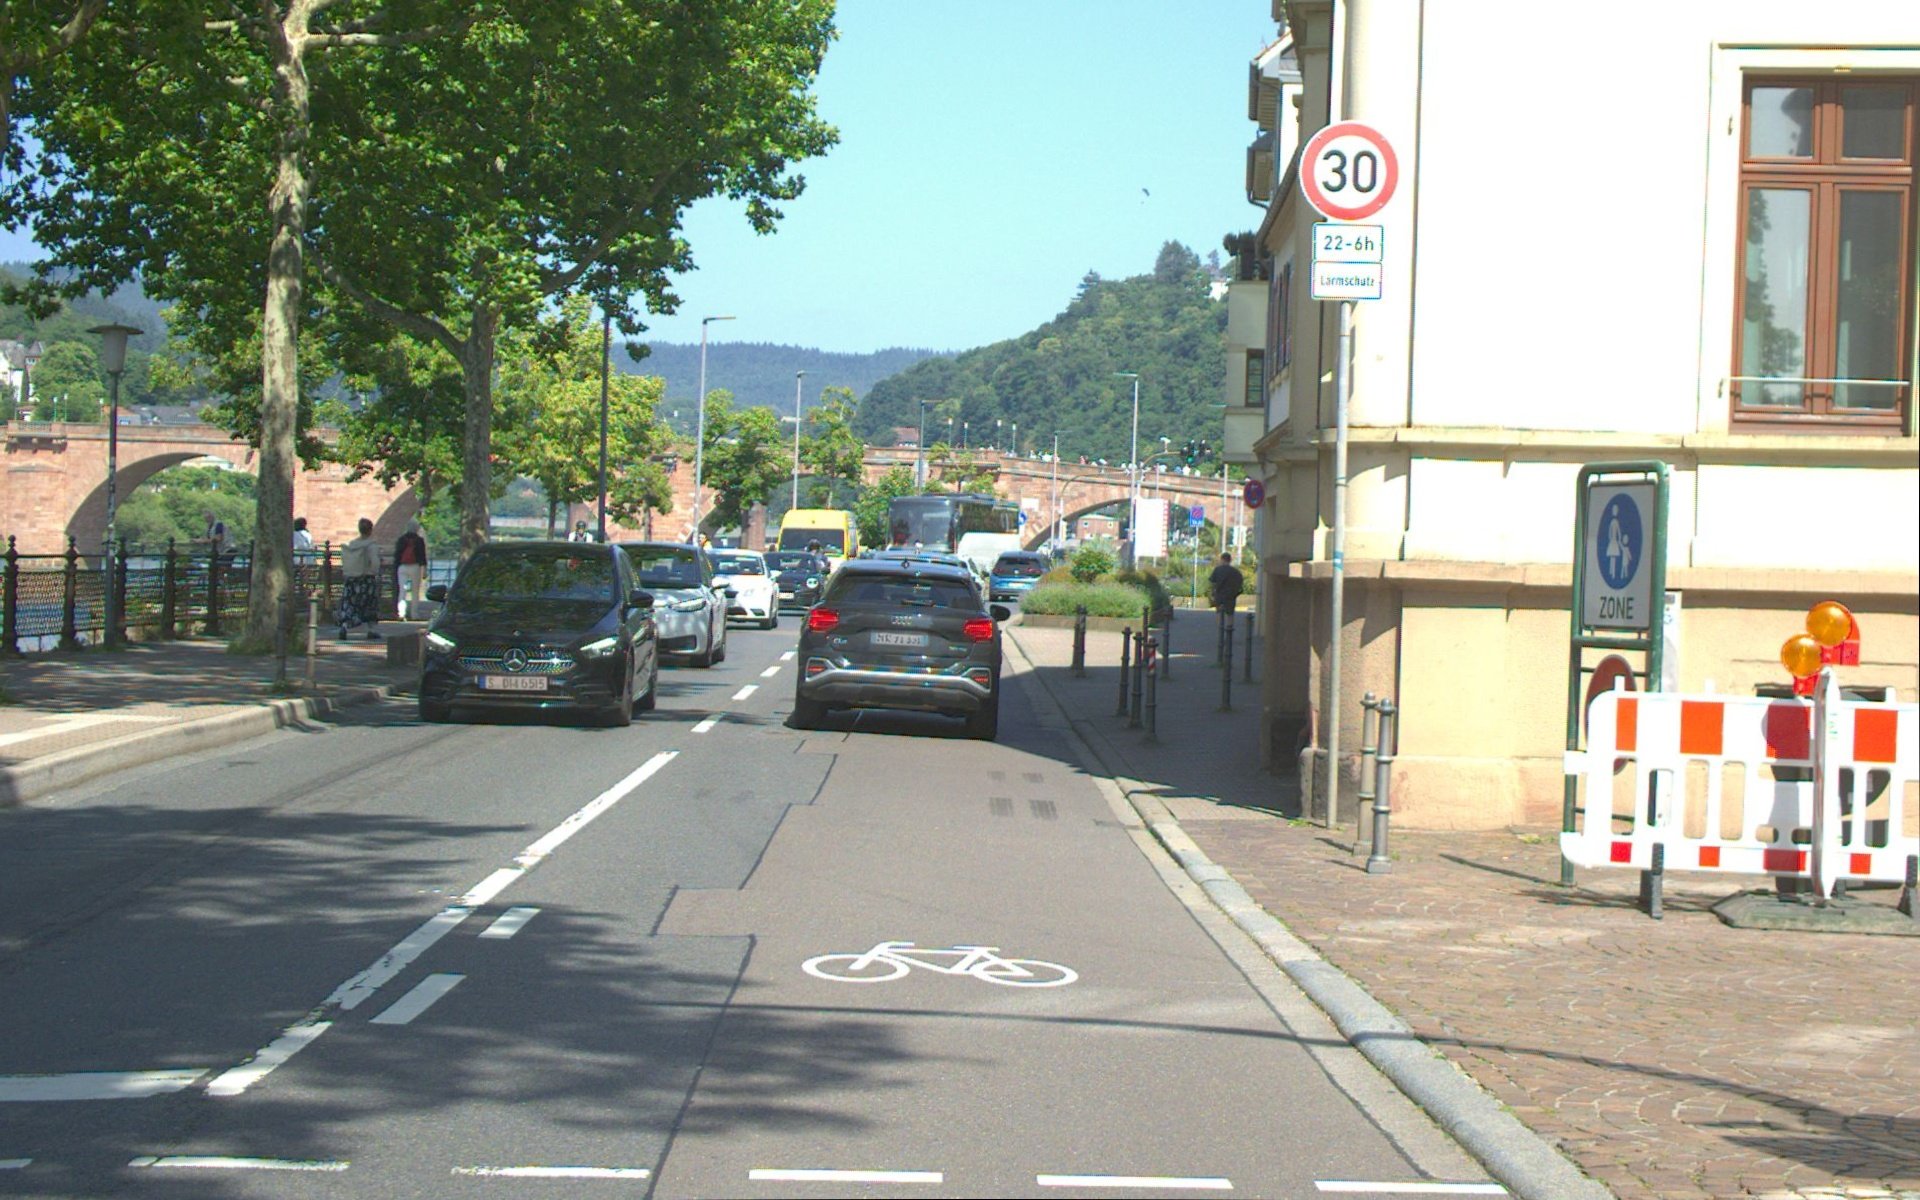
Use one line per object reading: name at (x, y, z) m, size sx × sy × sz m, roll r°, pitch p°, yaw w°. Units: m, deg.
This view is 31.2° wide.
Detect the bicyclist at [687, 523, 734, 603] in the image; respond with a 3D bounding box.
bicyclist at (-5.021, -0.751, 69.326) m, size 0.766 × 1.526 × 1.025 m, roll 3°, pitch 3°, yaw 1°

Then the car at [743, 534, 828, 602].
car at (-3.908, -0.731, 77.439) m, size 1.701 × 1.453 × 4.002 m, roll 2°, pitch 1°, yaw 0°

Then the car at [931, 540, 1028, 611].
car at (0.492, -0.593, 79.972) m, size 1.927 × 1.548 × 4.831 m, roll 1°, pitch 1°, yaw 4°

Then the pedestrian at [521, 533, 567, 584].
pedestrian at (-10.657, -1.069, 88.038) m, size 0.937 × 1.276 × 0.849 m, roll 2°, pitch 1°, yaw 8°

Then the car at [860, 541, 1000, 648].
car at (-0.402, -0.123, 51.675) m, size 1.926 × 1.456 × 4.832 m, roll 2°, pitch 1°, yaw 1°

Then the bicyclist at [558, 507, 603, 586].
bicyclist at (-7.784, -1.090, 70.593) m, size 0.719 × 1.578 × 1.089 m, roll 2°, pitch 1°, yaw 1°

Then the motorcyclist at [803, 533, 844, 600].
motorcyclist at (-3.325, -0.811, 83.516) m, size 0.878 × 1.578 × 1.025 m, roll 2°, pitch 1°, yaw -5°

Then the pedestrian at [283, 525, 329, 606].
pedestrian at (-13.337, -0.708, 70.141) m, size 0.694 × 1.610 × 0.663 m, roll 2°, pitch 1°, yaw 7°

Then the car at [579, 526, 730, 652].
car at (-3.857, -0.127, 43.961) m, size 1.735 × 1.513 × 4.405 m, roll 1°, pitch 0°, yaw -3°

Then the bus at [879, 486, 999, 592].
bus at (-0.674, -2.155, 126.818) m, size 2.632 × 3.552 × 12.979 m, roll 2°, pitch 0°, yaw 7°

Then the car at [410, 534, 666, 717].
car at (-3.691, 0.184, 30.733) m, size 1.701 × 1.513 × 4.405 m, roll 0°, pitch 1°, yaw 1°

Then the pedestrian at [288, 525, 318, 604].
pedestrian at (-13.349, -0.728, 69.864) m, size 0.414 × 1.592 × 0.450 m, roll 2°, pitch 1°, yaw 7°

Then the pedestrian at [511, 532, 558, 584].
pedestrian at (-10.781, -1.062, 87.133) m, size 0.937 × 1.276 × 0.849 m, roll 2°, pitch 1°, yaw 8°

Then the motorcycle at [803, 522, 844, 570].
motorcycle at (-3.312, -1.315, 83.531) m, size 0.883 × 1.073 × 2.328 m, roll 1°, pitch 2°, yaw -4°

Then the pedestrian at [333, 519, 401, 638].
pedestrian at (-8.070, -0.299, 46.792) m, size 0.761 × 1.581 × 0.696 m, roll 2°, pitch 1°, yaw -1°

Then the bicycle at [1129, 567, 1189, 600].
bicycle at (6.220, -0.514, 107.314) m, size 1.810 × 0.875 × 0.502 m, roll 4°, pitch 2°, yaw 3°

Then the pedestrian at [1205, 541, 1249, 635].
pedestrian at (4.917, -0.219, 63.425) m, size 0.762 × 1.708 × 0.696 m, roll -1°, pitch 0°, yaw 3°

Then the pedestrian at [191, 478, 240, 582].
pedestrian at (-14.093, -1.322, 65.081) m, size 0.693 × 1.938 × 0.887 m, roll 2°, pitch 1°, yaw -1°

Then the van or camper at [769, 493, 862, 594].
van or camper at (-3.871, -1.509, 93.257) m, size 2.087 × 2.548 × 7.092 m, roll 3°, pitch 1°, yaw 0°

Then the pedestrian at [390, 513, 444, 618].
pedestrian at (-8.954, -0.575, 56.683) m, size 0.656 × 1.676 × 0.758 m, roll 5°, pitch 0°, yaw -1°

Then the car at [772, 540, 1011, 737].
car at (-0.644, 0.316, 31.371) m, size 1.926 × 1.548 × 4.832 m, roll 4°, pitch 0°, yaw -2°

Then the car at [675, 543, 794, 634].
car at (-4.067, -0.233, 62.620) m, size 1.701 × 1.440 × 4.091 m, roll 3°, pitch 2°, yaw 2°

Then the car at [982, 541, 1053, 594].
car at (1.794, -1.023, 105.747) m, size 1.927 × 1.548 × 4.831 m, roll 1°, pitch 1°, yaw 4°
